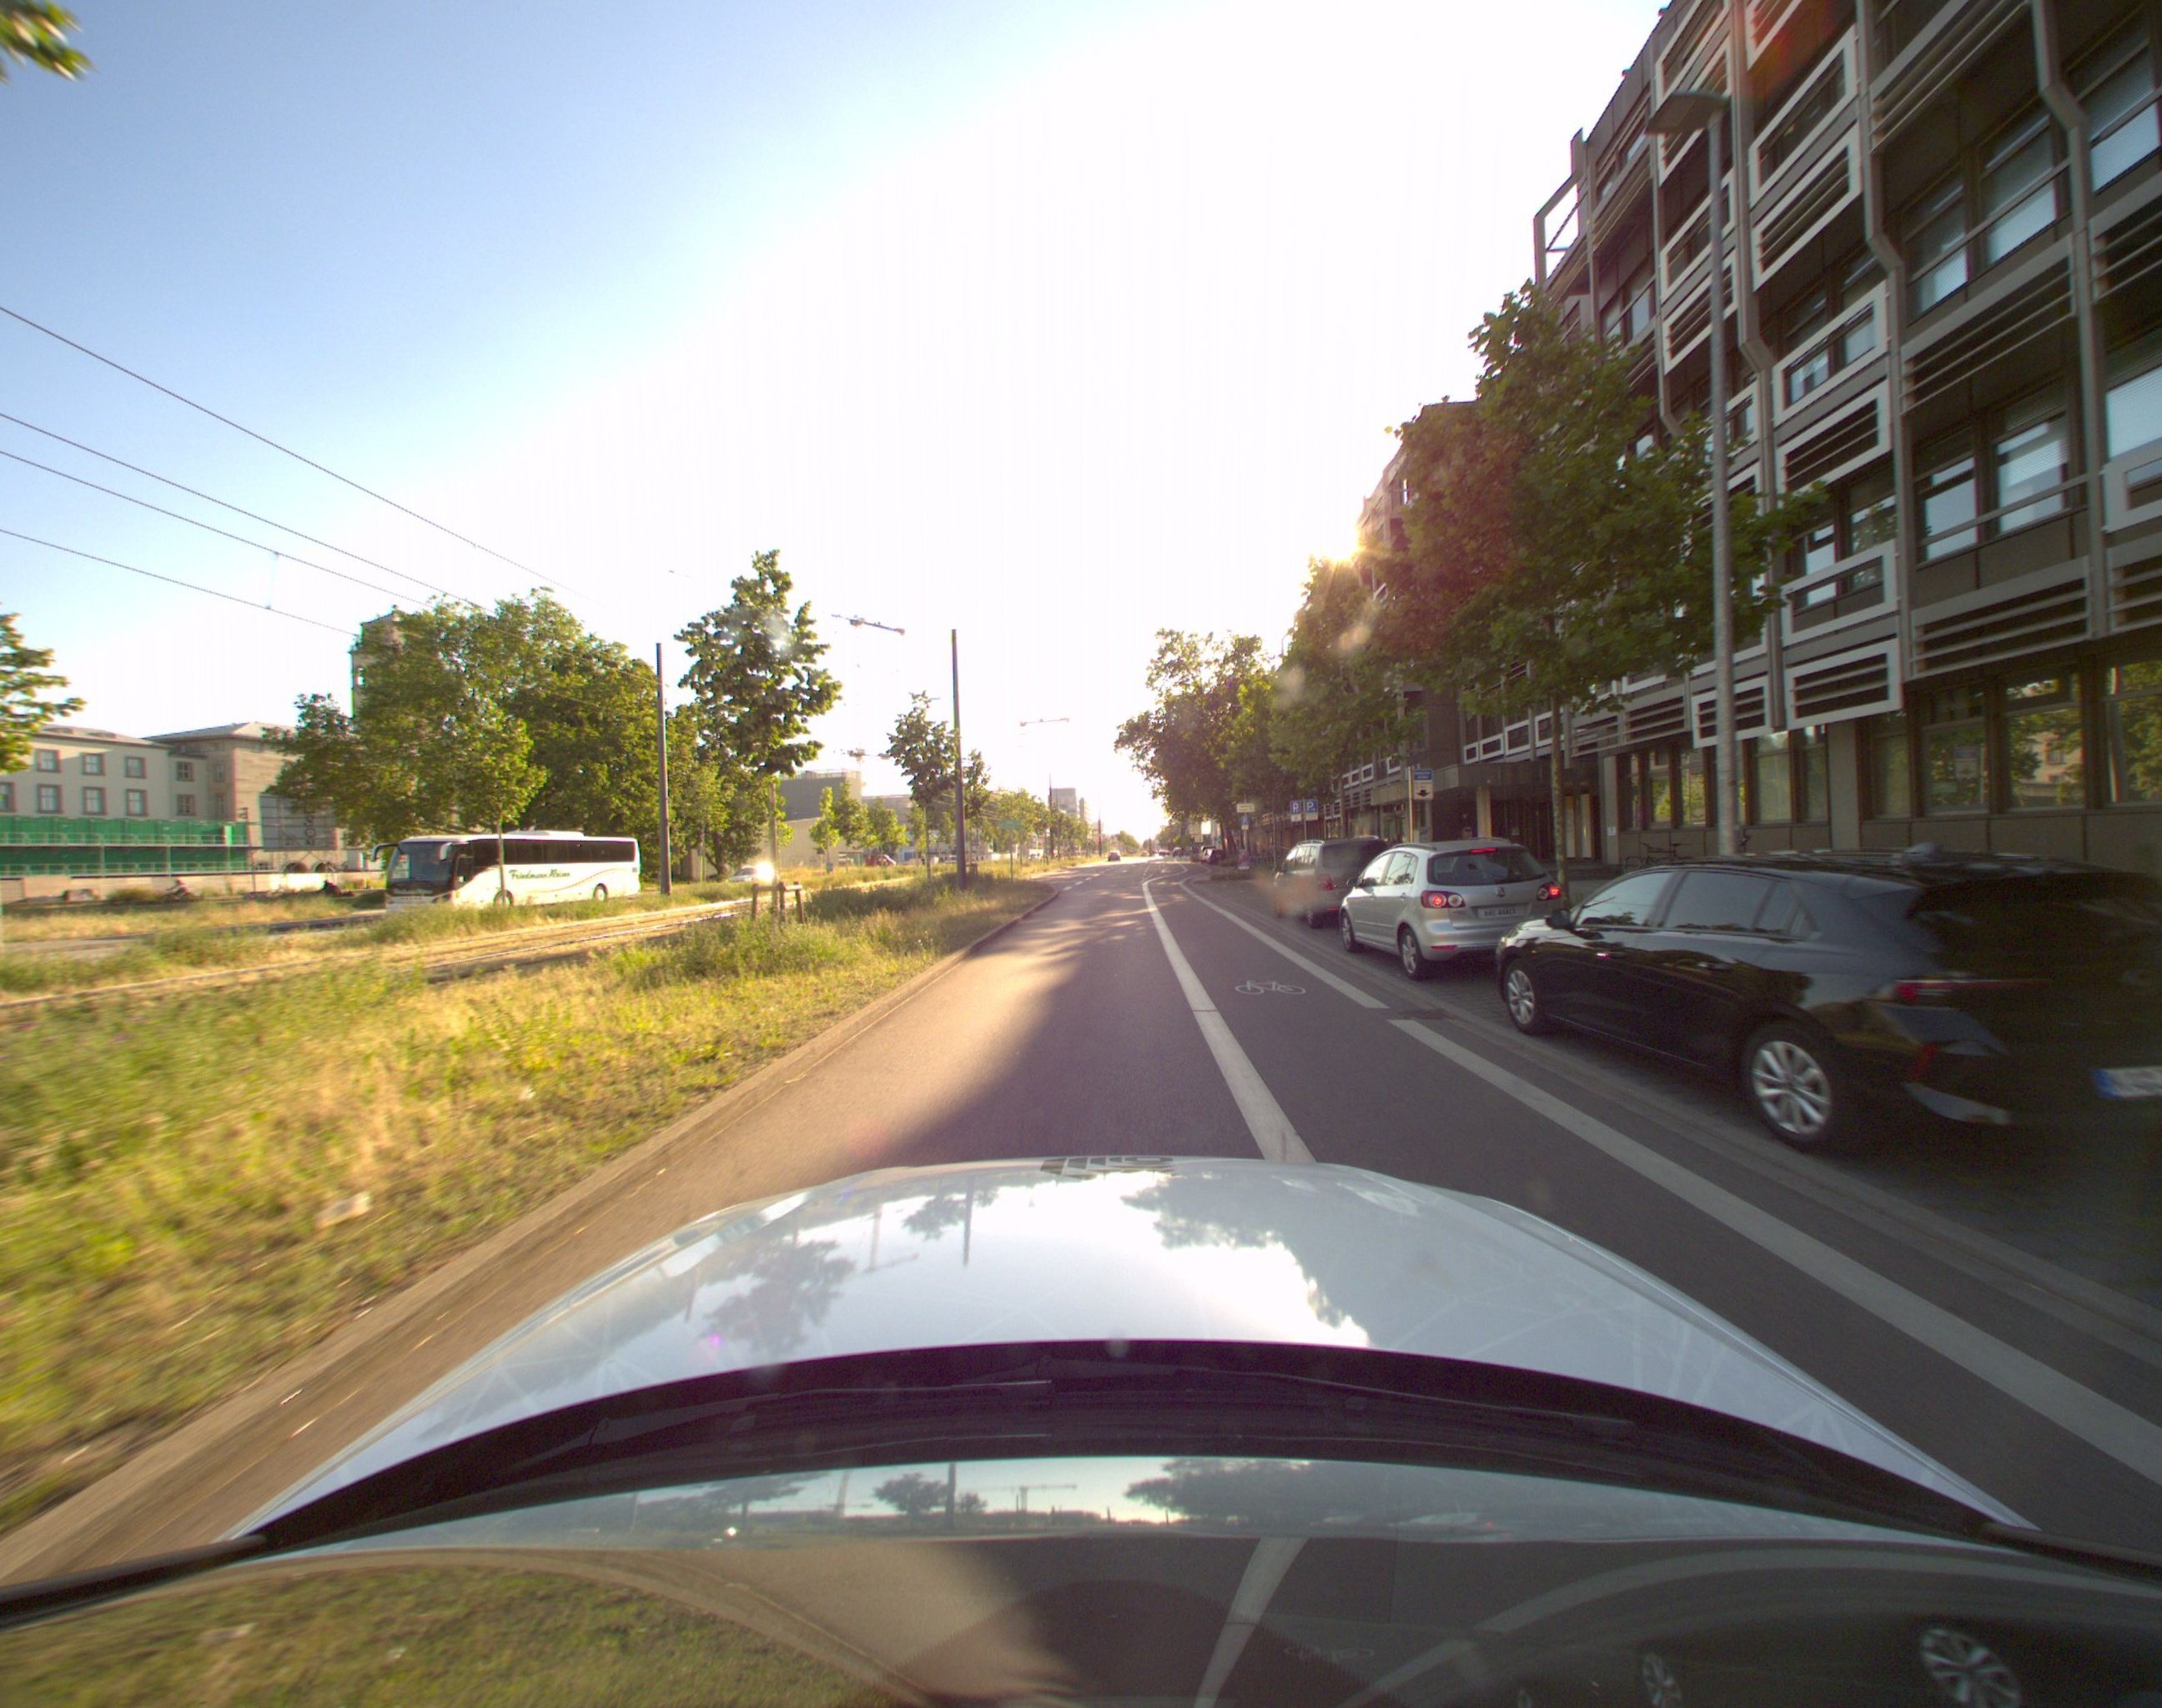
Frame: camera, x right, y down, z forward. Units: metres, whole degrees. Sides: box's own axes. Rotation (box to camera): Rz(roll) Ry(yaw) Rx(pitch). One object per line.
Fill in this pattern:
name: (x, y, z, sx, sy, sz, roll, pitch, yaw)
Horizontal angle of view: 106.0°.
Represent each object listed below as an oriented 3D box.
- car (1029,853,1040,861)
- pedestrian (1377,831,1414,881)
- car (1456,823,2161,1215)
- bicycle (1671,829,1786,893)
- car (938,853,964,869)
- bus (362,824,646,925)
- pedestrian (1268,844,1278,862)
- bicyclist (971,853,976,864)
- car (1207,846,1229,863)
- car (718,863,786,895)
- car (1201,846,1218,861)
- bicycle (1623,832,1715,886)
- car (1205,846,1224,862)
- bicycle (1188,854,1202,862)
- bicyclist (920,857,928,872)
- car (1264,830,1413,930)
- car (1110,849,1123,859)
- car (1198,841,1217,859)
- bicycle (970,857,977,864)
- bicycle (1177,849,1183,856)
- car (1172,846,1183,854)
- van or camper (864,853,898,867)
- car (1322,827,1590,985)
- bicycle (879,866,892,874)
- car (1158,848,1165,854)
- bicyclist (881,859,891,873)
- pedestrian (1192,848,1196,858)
car: (-10.509, 0.712, 184.142, 1.984, 1.776, 4.006, -2, 0, 5)
pedestrian: (10.779, 0.069, 27.933, 0.786, 1.648, 1.138, -3, 0, 3)
car: (4.323, 0.627, 5.388, 1.787, 1.449, 4.380, -4, 0, 3)
bicycle: (12.344, 0.133, 15.536, 1.895, 1.093, 0.392, -3, 0, -3)
car: (-15.301, 0.823, 96.047, 1.862, 1.765, 4.819, -2, 0, 4)
bus: (-24.448, 0.706, 36.043, 2.787, 3.594, 12.709, -2, 0, 3)
pedestrian: (20.146, -0.078, 85.376, 0.827, 1.856, 0.848, -2, 0, 4)
bicyclist: (-15.591, 0.665, 118.303, 0.554, 1.507, 0.669, -2, 0, 5)
car: (12.998, 0.000, 77.694, 1.698, 1.418, 4.283, -4, 0, 6)
car: (-18.703, 1.375, 46.528, 1.986, 1.643, 4.170, -2, 0, 3)
car: (14.189, -0.097, 89.811, 1.671, 1.514, 5.072, -4, 0, 9)
bicycle: (12.877, 0.115, 17.861, 1.619, 1.082, 0.393, -3, 0, 5)
car: (13.756, 0.025, 84.149, 1.673, 1.478, 3.880, -4, 0, 6)
bicycle: (14.557, 0.502, 104.256, 1.680, 0.867, 0.574, -4, 0, 13)
bicyclist: (-18.184, 1.175, 94.330, 0.684, 1.708, 0.955, -2, 0, 5)
car: (5.158, 0.456, 16.946, 1.721, 1.688, 4.517, -4, 0, 2)
car: (5.214, 0.025, 118.997, 1.769, 1.428, 4.004, -1, 0, 3)
car: (14.866, -0.443, 96.014, 1.820, 1.970, 5.330, -4, 0, 5)
bicycle: (-15.582, 0.948, 118.307, 0.556, 1.060, 1.901, -2, 0, 5)
bicycle: (16.122, -0.249, 132.198, 0.795, 1.204, 2.270, -2, 0, 10)
car: (19.099, -0.859, 162.039, 1.932, 1.428, 3.929, -2, 0, 3)
van or camper: (-37.775, 1.164, 153.904, 5.630, 2.414, 2.159, -2, 0, 6)
car: (4.716, 0.553, 11.013, 1.721, 1.621, 4.218, -4, 0, 2)
bicycle: (-19.362, 1.581, 80.763, 0.685, 0.804, 2.147, -2, 0, 3)
car: (21.214, -0.734, 214.989, 1.751, 1.484, 3.854, -2, 0, 3)
bicyclist: (-19.363, 1.166, 80.846, 0.685, 1.346, 0.872, -2, 0, 3)
pedestrian: (18.382, -0.156, 132.645, 0.631, 1.608, 0.571, -4, 0, 6)
